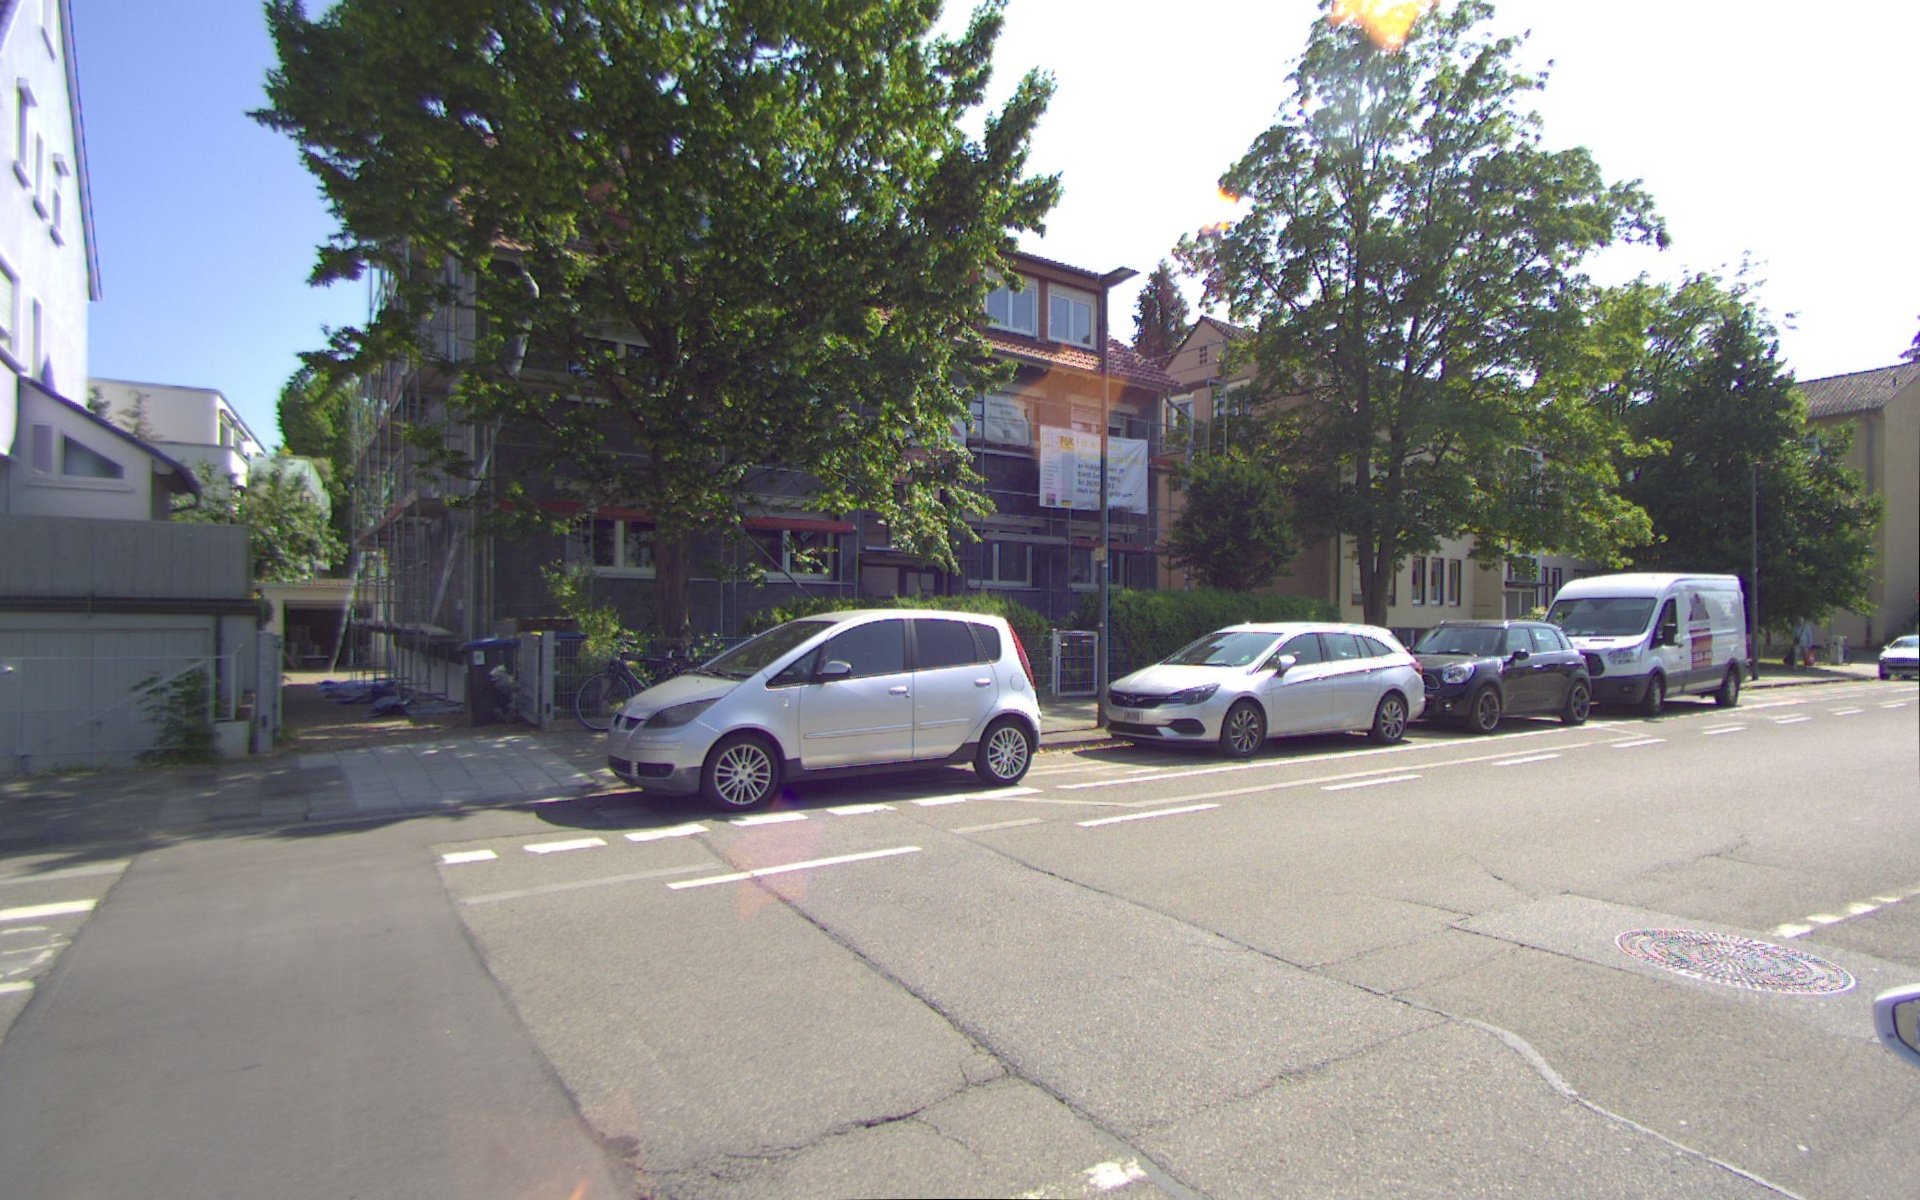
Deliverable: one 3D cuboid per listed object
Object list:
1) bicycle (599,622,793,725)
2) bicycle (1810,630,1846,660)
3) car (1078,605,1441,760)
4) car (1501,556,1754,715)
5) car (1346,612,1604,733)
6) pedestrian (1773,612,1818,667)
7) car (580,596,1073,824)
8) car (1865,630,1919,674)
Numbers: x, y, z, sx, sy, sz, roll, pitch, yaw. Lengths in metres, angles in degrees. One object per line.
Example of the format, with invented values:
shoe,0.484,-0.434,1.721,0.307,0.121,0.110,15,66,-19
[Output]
bicycle,-3.165,0.863,12.184,2.214,1.154,0.510,2,-1,-32
bicycle,34.038,1.761,39.405,0.370,1.095,1.717,0,0,15
car,3.762,0.888,12.279,4.623,1.579,1.710,1,-2,-34
car,12.530,0.623,18.674,5.897,2.529,2.074,1,-2,-37
car,7.733,0.989,14.991,3.958,1.579,1.710,1,-2,-34
pedestrian,28.202,1.317,33.896,0.716,1.803,0.969,1,-1,-29
car,-1.078,0.801,8.786,3.958,1.579,1.710,1,-2,-34
car,30.048,1.583,31.372,3.958,1.283,1.710,1,-2,-34
